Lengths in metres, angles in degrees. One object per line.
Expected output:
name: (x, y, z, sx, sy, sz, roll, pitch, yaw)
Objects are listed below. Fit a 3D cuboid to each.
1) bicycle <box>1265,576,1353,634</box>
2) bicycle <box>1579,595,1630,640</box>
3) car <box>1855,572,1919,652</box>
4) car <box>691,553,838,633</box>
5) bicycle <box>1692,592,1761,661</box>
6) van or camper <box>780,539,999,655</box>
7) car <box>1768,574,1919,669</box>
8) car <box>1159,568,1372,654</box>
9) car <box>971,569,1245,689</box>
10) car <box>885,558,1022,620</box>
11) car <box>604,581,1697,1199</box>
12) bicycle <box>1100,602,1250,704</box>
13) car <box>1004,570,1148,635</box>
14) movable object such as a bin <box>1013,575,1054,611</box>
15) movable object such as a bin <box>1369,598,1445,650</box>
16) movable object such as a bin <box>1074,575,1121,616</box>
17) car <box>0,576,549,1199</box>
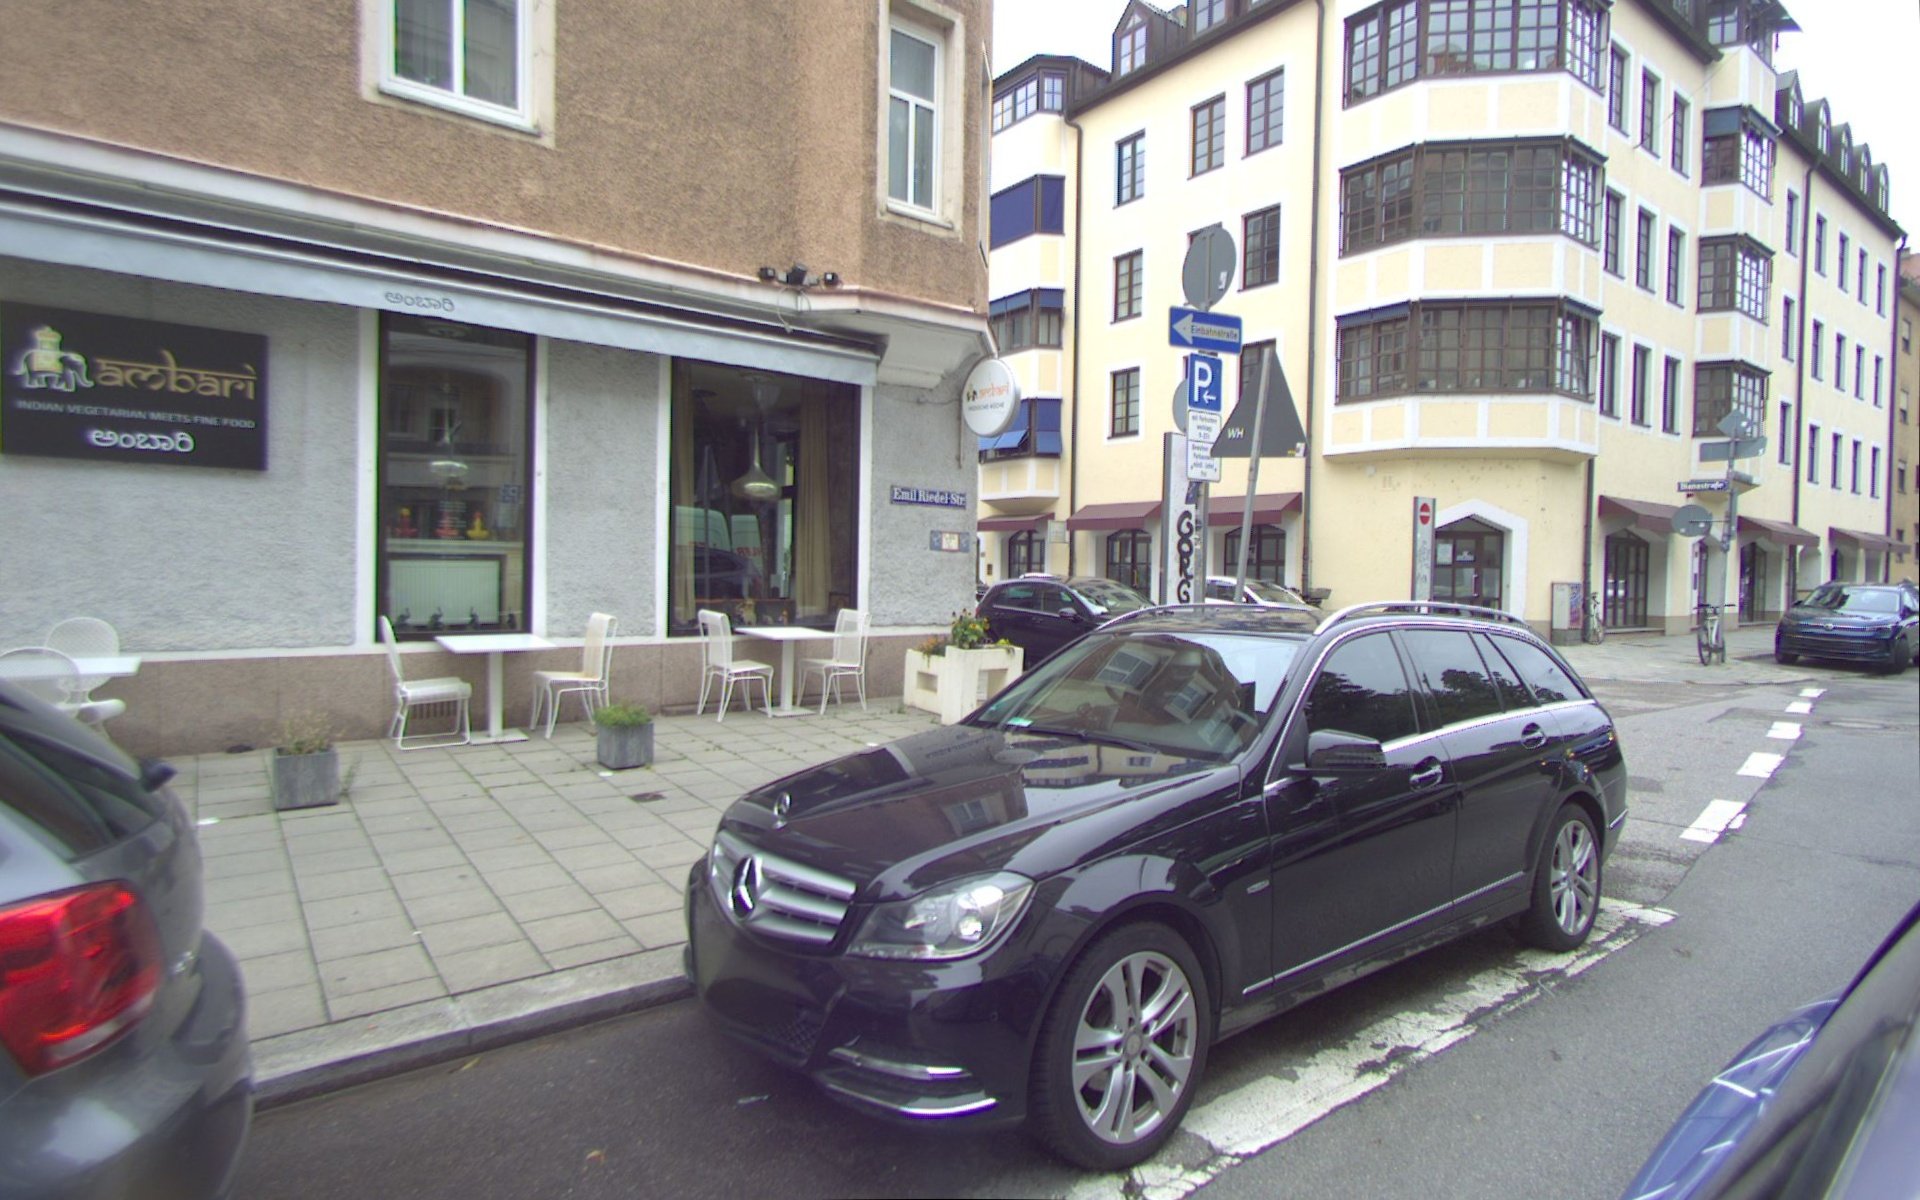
bicycle: (7.881, 0.091, 22.955, 0.506, 1.201, 1.906, 0, 2, -36)
bicycle: (14.079, 0.366, 22.108, 1.663, 0.912, 0.263, -1, 7, -36)
car: (22.249, 0.256, 22.977, 4.084, 1.607, 1.822, -1, 7, -34)
car: (-4.717, -0.237, 24.010, 1.941, 1.664, 3.999, -1, 3, -35)
bicycle: (14.115, 0.465, 18.610, 2.015, 1.173, 0.431, -1, 3, -37)
van or camper: (-1.526, -0.180, 19.636, 1.925, 1.942, 4.916, -3, 4, -36)
car: (18.009, 0.337, 20.057, 4.414, 1.642, 2.112, -1, 2, -38)
car: (5.932, 0.171, 20.008, 1.717, 1.458, 3.749, 3, 1, -33)
car: (2.085, 0.314, 15.158, 1.857, 1.506, 3.885, -1, 3, -37)
car: (-0.259, -0.373, 28.560, 1.947, 1.603, 4.030, -1, 2, -35)
car: (1.179, 0.649, 4.217, 4.701, 1.422, 1.851, -1, 2, -38)
bicycle: (2.383, 0.562, 11.105, 1.768, 1.017, 0.497, 1, 3, -36)
car: (2.732, 0.004, 24.534, 1.608, 1.353, 3.458, -1, 3, -34)
movable object such as a bin: (2.218, -0.226, 30.749, 0.671, 1.026, 1.126, -1, 3, -36)
movable object such as a bin: (8.545, 0.440, 19.370, 0.671, 0.911, 1.126, -1, 3, -36)
movable object such as a bin: (3.871, -0.138, 28.531, 0.753, 1.094, 1.126, -1, 3, -37)
car: (-2.804, 0.699, 1.103, 4.108, 1.411, 1.576, -1, 3, -39)
